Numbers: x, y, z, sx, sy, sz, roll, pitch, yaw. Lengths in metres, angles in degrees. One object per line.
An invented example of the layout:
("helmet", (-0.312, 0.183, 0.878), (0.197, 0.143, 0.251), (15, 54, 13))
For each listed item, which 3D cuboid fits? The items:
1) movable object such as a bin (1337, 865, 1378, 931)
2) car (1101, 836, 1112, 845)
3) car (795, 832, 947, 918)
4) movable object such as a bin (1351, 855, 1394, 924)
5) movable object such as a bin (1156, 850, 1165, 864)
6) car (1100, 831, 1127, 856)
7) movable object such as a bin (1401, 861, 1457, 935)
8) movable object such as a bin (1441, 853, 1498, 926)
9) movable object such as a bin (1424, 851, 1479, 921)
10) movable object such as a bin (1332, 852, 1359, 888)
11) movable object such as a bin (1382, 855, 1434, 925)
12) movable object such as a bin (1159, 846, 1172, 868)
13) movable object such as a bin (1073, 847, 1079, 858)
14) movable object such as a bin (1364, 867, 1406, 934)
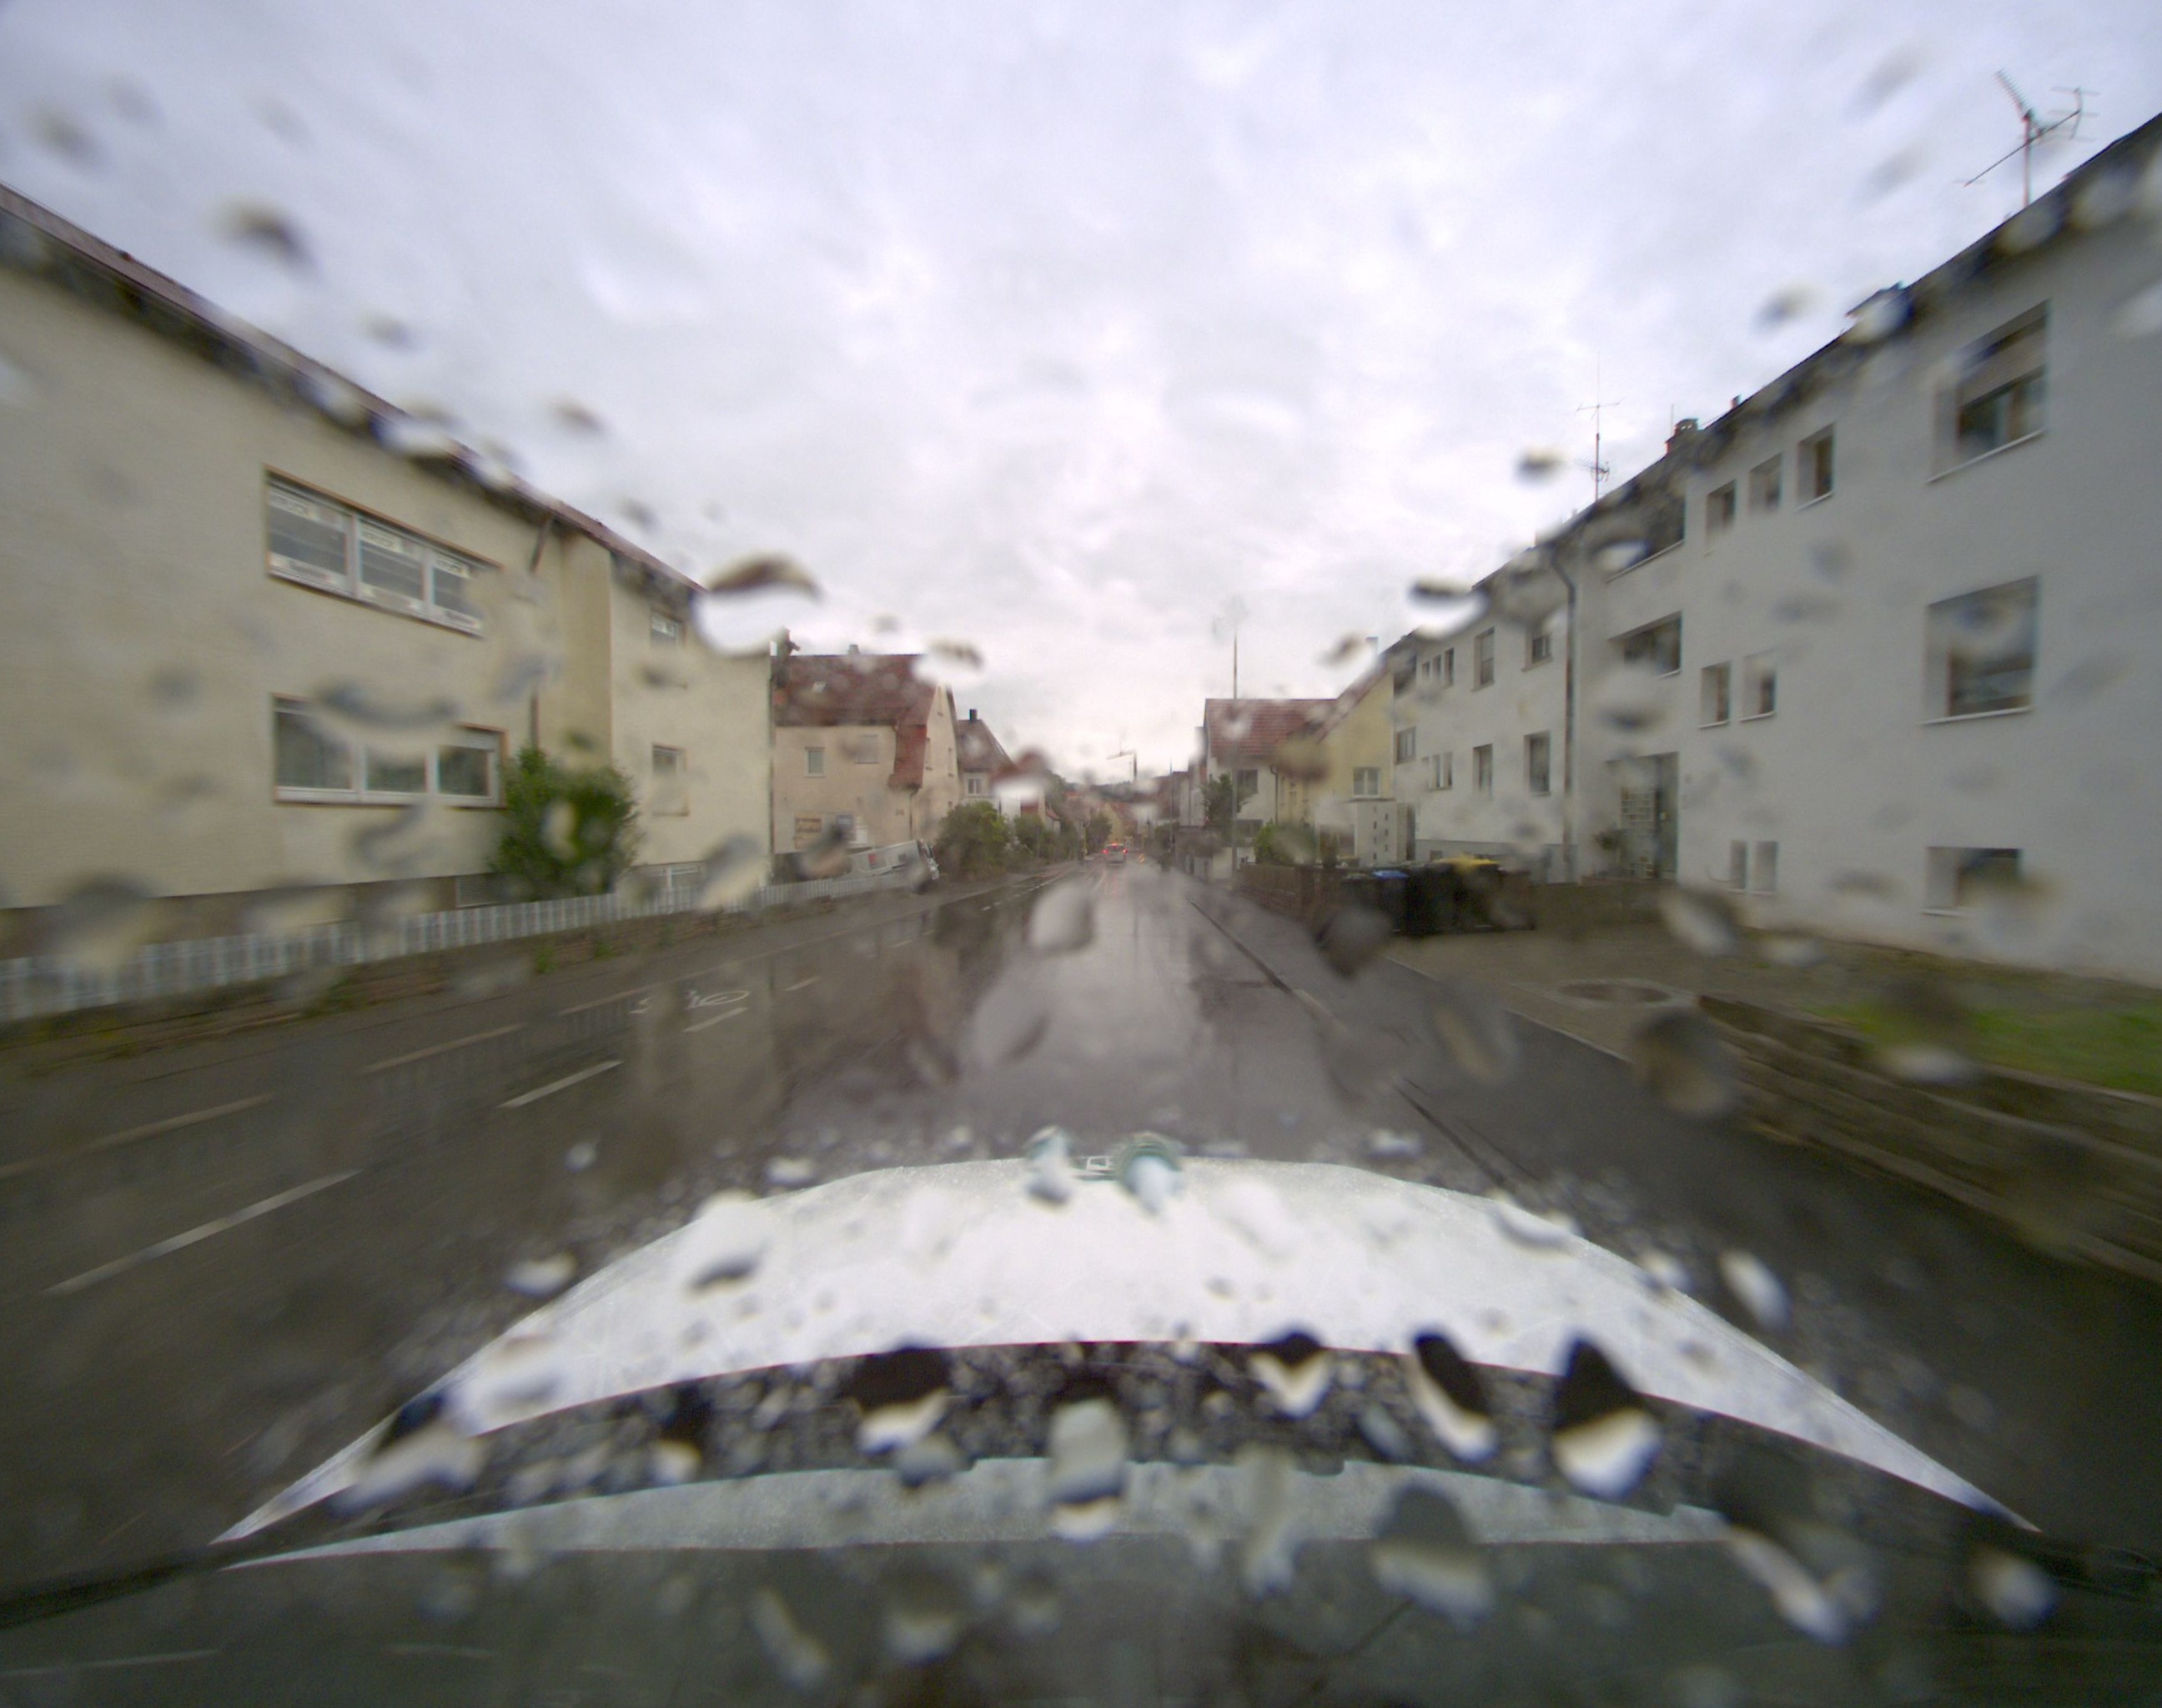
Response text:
("movable object such as a bin", (4.150, 0.653, 12.229), (0.423, 0.940, 0.508), (1, 3, 1))
("car", (5.473, -2.821, 172.407), (1.831, 1.578, 4.300), (2, 3, 8))
("car", (-7.448, 0.715, 29.263), (4.537, 2.012, 2.161), (-12, 3, 2))
("movable object such as a bin", (4.594, 0.546, 12.860), (0.423, 1.027, 0.632), (1, 3, 1))
("movable object such as a bin", (7.313, 0.270, 75.121), (0.781, 1.276, 0.715), (1, 3, 7))
("car", (2.821, -0.933, 69.929), (2.108, 1.887, 4.508), (1, 3, 3))
("movable object such as a bin", (5.194, 0.652, 12.182), (0.542, 1.027, 0.632), (1, 3, 1))
("movable object such as a bin", (5.803, 0.518, 12.196), (0.526, 1.027, 0.632), (1, 3, 1))
("movable object such as a bin", (5.842, 0.496, 12.866), (0.542, 1.027, 0.632), (1, 3, 1))
("movable object such as a bin", (8.428, 0.511, 26.003), (0.647, 1.073, 0.629), (1, 3, 2))
("movable object such as a bin", (5.163, 0.554, 12.872), (0.542, 1.027, 0.632), (1, 3, 1))
("movable object such as a bin", (4.964, 0.177, 47.930), (0.742, 1.278, 0.883), (0, 3, 3))
("movable object such as a bin", (-0.579, -0.151, 97.676), (0.681, 1.222, 0.639), (1, 3, -2))
("movable object such as a bin", (4.559, 0.692, 12.223), (0.423, 0.940, 0.508), (1, 3, 1))
